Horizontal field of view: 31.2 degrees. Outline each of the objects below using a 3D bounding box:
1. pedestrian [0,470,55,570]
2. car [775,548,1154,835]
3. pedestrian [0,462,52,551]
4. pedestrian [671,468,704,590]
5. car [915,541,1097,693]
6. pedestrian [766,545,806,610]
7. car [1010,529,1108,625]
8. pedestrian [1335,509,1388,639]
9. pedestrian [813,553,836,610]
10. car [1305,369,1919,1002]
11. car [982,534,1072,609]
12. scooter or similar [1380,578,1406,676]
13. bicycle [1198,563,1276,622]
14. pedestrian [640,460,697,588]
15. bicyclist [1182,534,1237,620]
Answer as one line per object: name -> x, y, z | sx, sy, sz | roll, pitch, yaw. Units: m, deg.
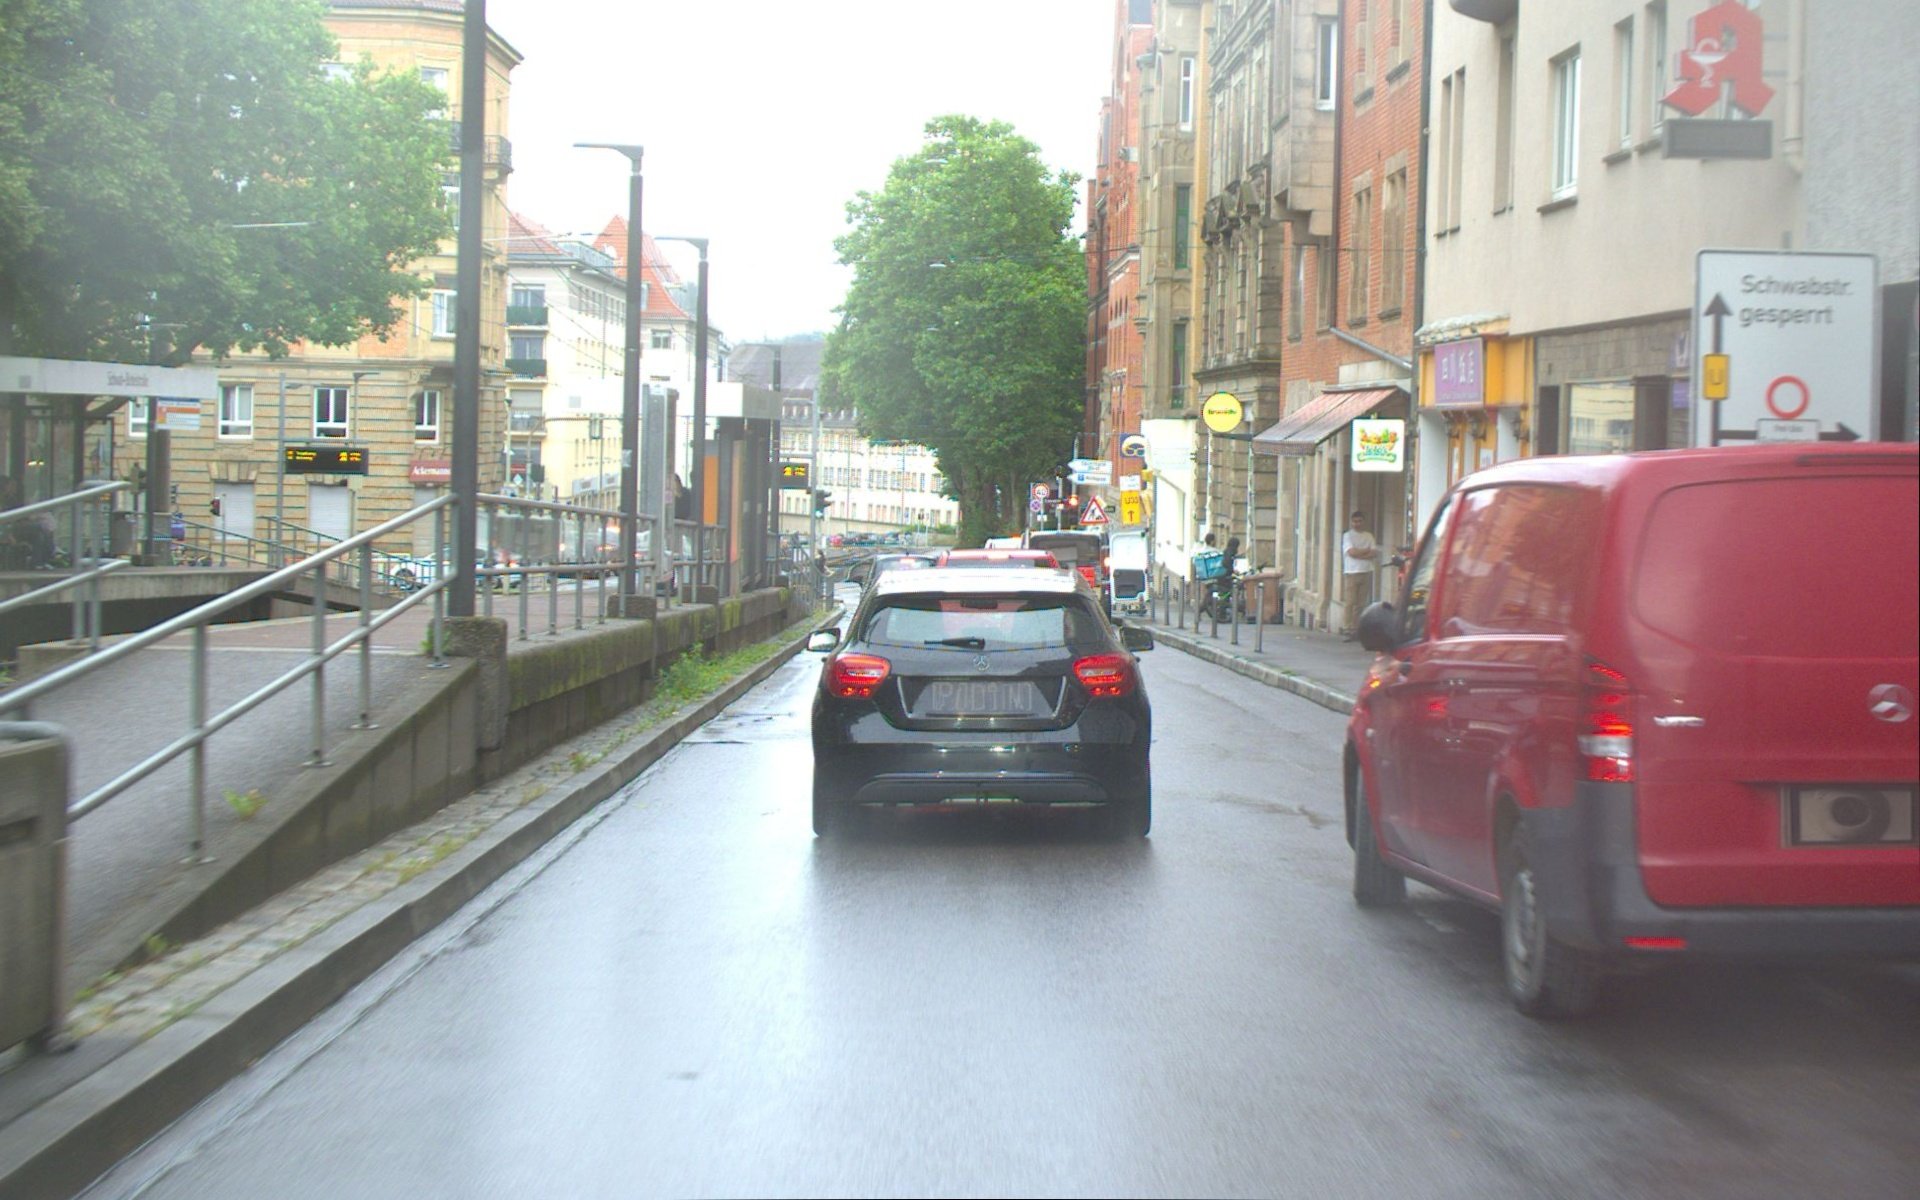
pedestrian -> -13.029, -1.116, 47.691 | 0.777, 1.358, 0.564 | 2, 1, -2
car -> 0.027, 0.430, 19.220 | 1.895, 1.385, 4.000 | 0, 1, 0
pedestrian -> -13.197, -1.314, 48.339 | 0.703, 1.236, 0.564 | 2, 1, -2
pedestrian -> -3.612, -0.934, 45.555 | 0.409, 1.599, 0.450 | 1, 0, -6
car -> 0.432, 0.150, 35.711 | 1.679, 1.484, 3.613 | 0, 1, -2
pedestrian -> -4.668, -0.607, 92.135 | 0.739, 1.718, 0.740 | 1, 0, -44
car -> 2.049, -0.478, 72.292 | 1.921, 1.929, 4.685 | 1, 0, 1
pedestrian -> 5.728, -0.370, 49.078 | 0.577, 1.824, 0.564 | -2, 0, -3
pedestrian -> -3.637, -0.494, 92.124 | 0.531, 1.525, 0.436 | 1, 0, -8
car -> 2.633, 0.242, 12.650 | 1.975, 1.832, 5.246 | 1, 0, -2
car -> 1.684, -0.733, 87.854 | 1.933, 1.825, 4.281 | 1, 1, -3
scooter or similar -> 5.526, 0.334, 43.883 | 0.257, 1.217, 1.194 | 1, 1, 9
bicycle -> 5.310, -0.151, 65.827 | 1.684, 1.111, 0.464 | 0, 0, -42
pedestrian -> -3.679, -0.959, 43.422 | 0.496, 1.599, 0.636 | 1, 0, 16
bicyclist -> 4.792, -0.438, 66.043 | 0.848, 1.651, 0.631 | 0, 0, -42
